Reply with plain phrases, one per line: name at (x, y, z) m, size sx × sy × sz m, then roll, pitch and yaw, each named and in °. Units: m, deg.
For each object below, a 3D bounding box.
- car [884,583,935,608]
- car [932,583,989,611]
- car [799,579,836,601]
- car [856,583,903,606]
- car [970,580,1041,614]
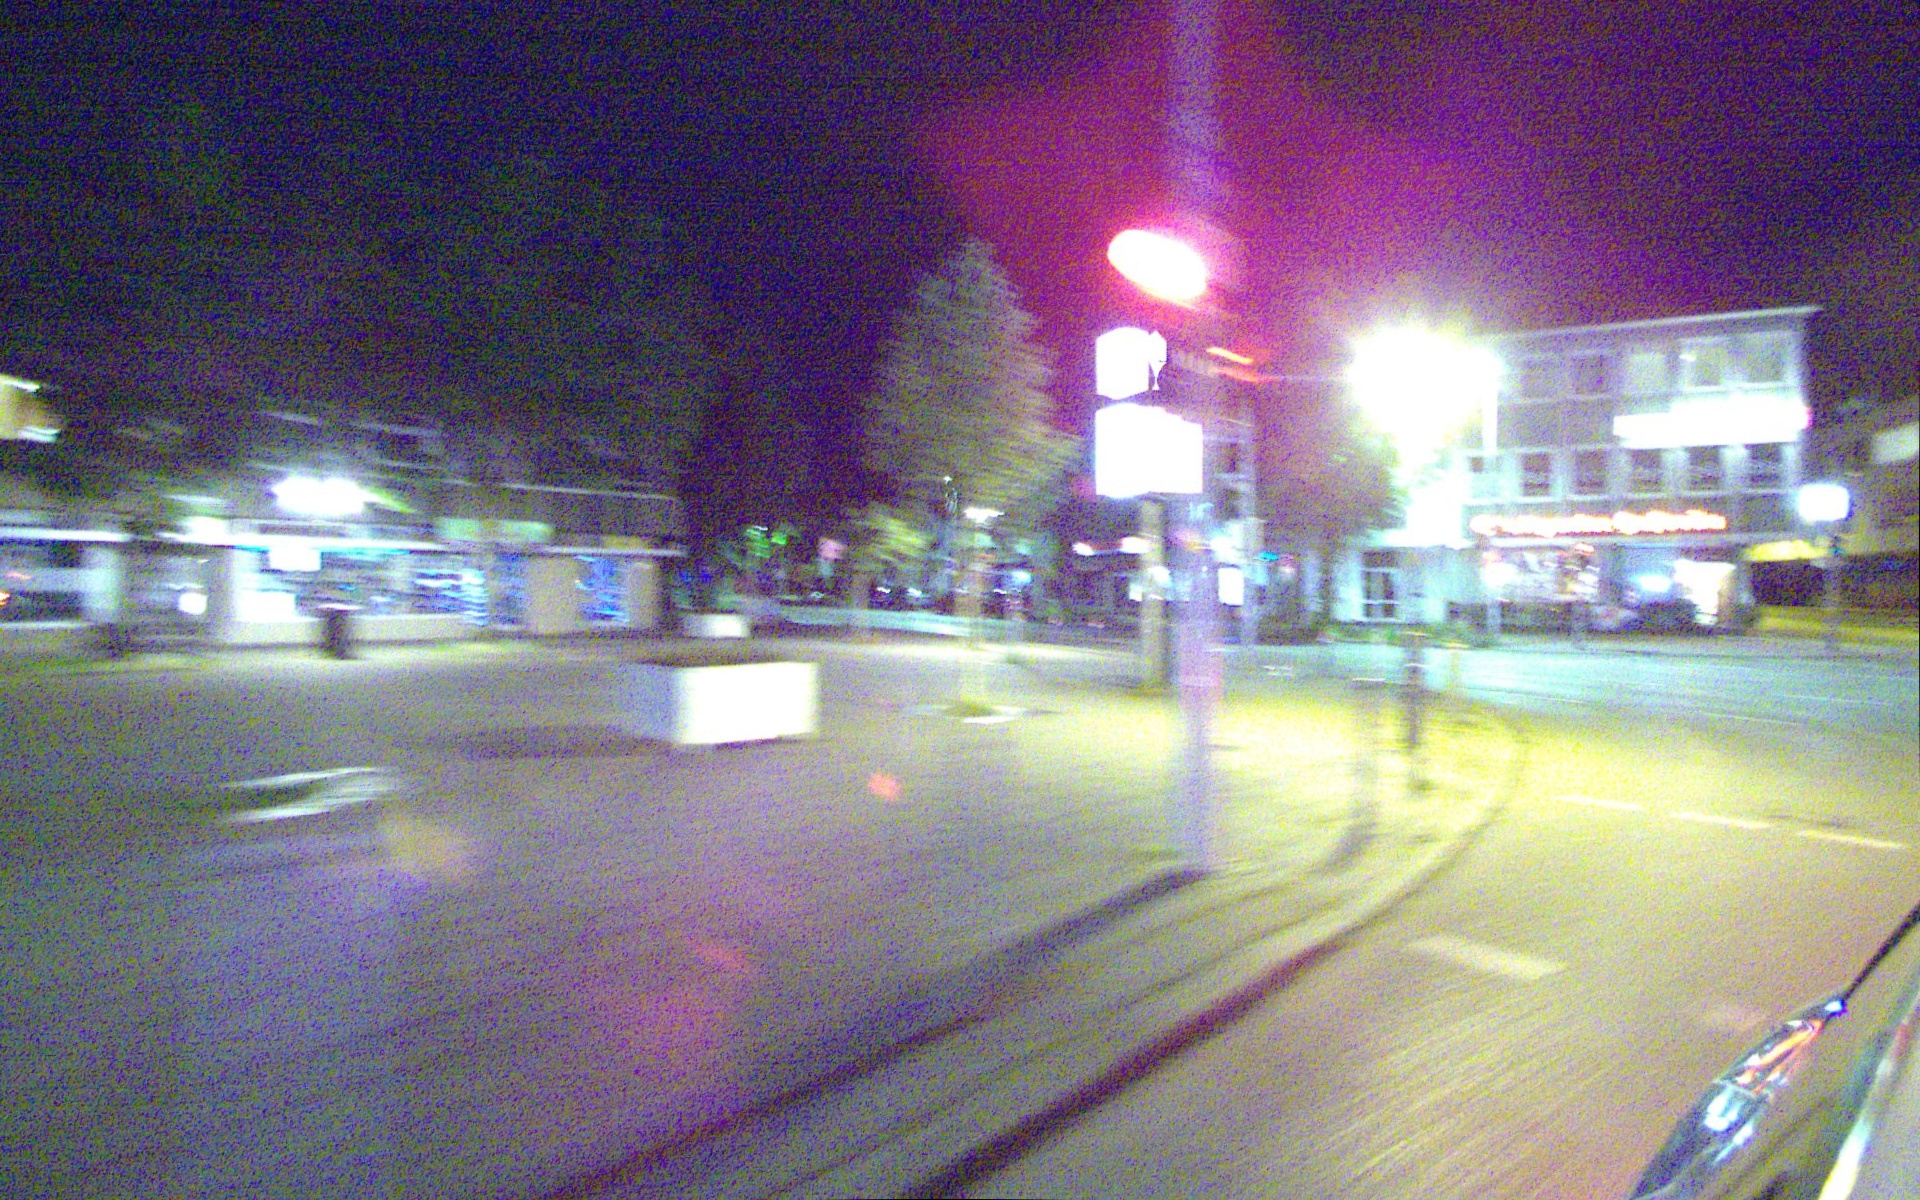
car at (-3.223, -0.303, 64.133) m, size 1.856 × 1.471 × 3.902 m, roll 2°, pitch 0°, yaw -25°
car at (-0.018, -0.186, 57.399) m, size 1.855 × 1.471 × 3.903 m, roll 2°, pitch 0°, yaw -22°
car at (-11.373, -0.804, 80.475) m, size 1.971 × 1.646 × 3.903 m, roll 2°, pitch 0°, yaw -22°
car at (-5.459, -0.396, 68.402) m, size 1.856 × 1.471 × 3.902 m, roll 2°, pitch 0°, yaw -25°
car at (2.354, -0.176, 53.098) m, size 1.837 × 1.674 × 3.866 m, roll 1°, pitch 0°, yaw -32°
